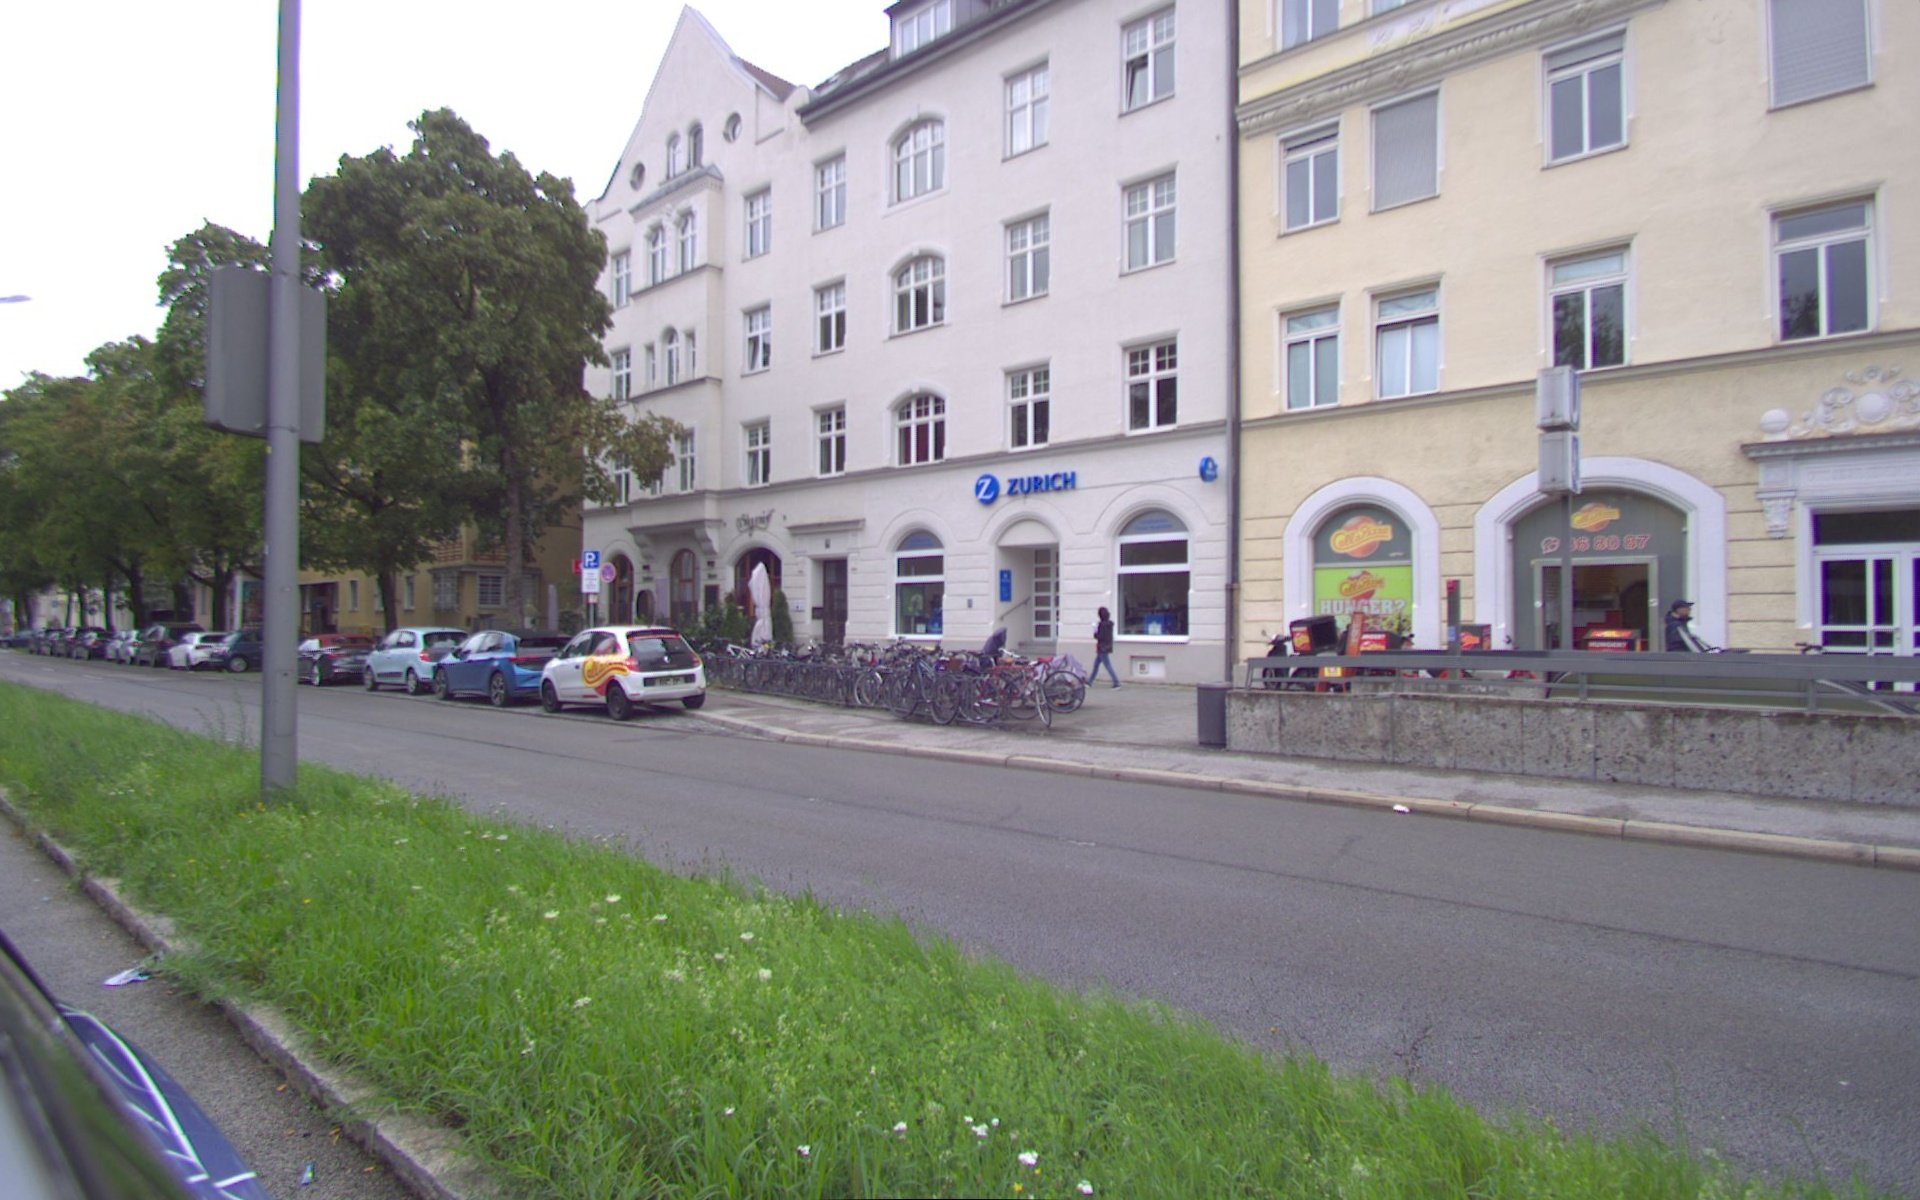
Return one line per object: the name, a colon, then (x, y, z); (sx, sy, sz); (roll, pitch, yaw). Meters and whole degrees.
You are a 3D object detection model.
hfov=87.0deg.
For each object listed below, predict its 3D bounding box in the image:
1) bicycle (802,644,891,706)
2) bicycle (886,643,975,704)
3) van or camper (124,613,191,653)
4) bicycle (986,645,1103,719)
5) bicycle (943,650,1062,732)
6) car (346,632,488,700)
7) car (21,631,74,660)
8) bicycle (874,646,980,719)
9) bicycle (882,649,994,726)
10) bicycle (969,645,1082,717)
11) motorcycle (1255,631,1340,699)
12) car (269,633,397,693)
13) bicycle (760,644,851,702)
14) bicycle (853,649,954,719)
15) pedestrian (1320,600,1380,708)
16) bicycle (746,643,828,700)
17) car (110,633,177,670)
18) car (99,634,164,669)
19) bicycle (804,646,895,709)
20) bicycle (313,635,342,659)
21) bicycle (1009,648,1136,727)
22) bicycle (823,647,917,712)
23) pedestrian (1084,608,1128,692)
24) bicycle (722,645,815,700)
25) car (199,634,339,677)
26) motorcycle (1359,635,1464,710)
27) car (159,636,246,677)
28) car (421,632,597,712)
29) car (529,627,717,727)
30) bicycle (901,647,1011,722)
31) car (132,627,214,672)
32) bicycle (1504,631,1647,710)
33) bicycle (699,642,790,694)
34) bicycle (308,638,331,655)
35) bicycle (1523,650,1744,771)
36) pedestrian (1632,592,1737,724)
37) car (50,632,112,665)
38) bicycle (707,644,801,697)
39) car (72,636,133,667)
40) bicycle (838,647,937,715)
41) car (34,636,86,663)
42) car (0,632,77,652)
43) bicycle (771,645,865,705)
bicycle: (-2.128, 1.392, 18.969); (1.667, 1.124, 0.328); (-1, -2, 18)
bicycle: (-0.560, 1.364, 18.959); (1.667, 1.124, 0.328); (-1, -2, 18)
van or camper: (-53.717, 2.197, 67.671); (6.847, 2.599, 2.321); (-2, -2, 41)
bicycle: (1.323, 1.270, 15.939); (1.799, 1.124, 0.394); (-1, -2, 18)
bicycle: (0.605, 1.286, 14.478); (1.667, 1.124, 0.328); (-1, -2, 18)
car: (-13.297, 1.544, 24.697); (3.958, 1.518, 1.792); (-2, -2, 41)
car: (-55.525, 2.737, 61.551); (4.436, 1.700, 1.854); (-2, -2, 41)
bicycle: (-0.536, 1.307, 16.186); (1.667, 1.124, 0.365); (-1, -2, 18)
bicycle: (-0.335, 1.306, 15.296); (1.667, 1.124, 0.366); (-1, -2, 18)
bicycle: (1.066, 1.307, 16.494); (1.799, 1.124, 0.394); (-1, -2, 18)
motorcycle: (6.127, 1.159, 18.497); (0.600, 1.139, 1.991); (0, -1, -9)
car: (-17.653, 1.703, 28.416); (4.643, 1.518, 1.792); (-2, -2, 41)
bicycle: (-3.078, 1.448, 20.128); (1.859, 1.124, 0.328); (-1, -2, 18)
bicycle: (-0.948, 1.380, 16.780); (1.667, 1.124, 0.328); (-1, -2, 18)
pedestrian: (6.336, 0.868, 16.441); (0.769, 1.710, 0.537); (-2, -2, 39)
bicycle: (-3.533, 1.453, 20.704); (1.664, 1.124, 0.329); (-1, -2, 14)
car: (-35.944, 2.231, 44.549); (3.007, 1.569, 1.710); (-2, -2, 39)
car: (-38.957, 2.381, 47.573); (4.055, 1.573, 1.708); (-2, -2, 41)
bicycle: (-2.032, 1.399, 18.499); (1.667, 1.124, 0.328); (-1, -2, 18)
bicycle: (-32.929, 2.434, 52.694); (1.929, 1.231, 0.762); (-2, -2, 41)
bicycle: (1.650, 1.268, 14.883); (1.799, 1.124, 0.394); (-1, -2, 18)
bicycle: (-1.597, 1.389, 17.866); (1.667, 1.124, 0.328); (-1, -2, 18)
pedestrian: (2.917, 0.992, 20.237); (0.416, 1.644, 0.784); (1, -2, -43)
bicycle: (-4.031, 1.521, 21.297); (1.860, 1.124, 0.548); (-1, -2, 10)
car: (-24.921, 1.965, 36.579); (1.731, 1.475, 3.850); (-2, -3, 39)
motorcycle: (7.570, 1.187, 17.073); (0.600, 1.130, 1.991); (0, -1, -9)
car: (-28.411, 2.065, 37.915); (4.401, 1.413, 1.708); (-2, -2, 41)
car: (-9.642, 1.444, 21.501); (4.289, 1.518, 1.792); (-2, -2, 41)
car: (-6.166, 1.307, 18.334); (3.790, 1.597, 1.631); (-2, -2, 43)
bicycle: (-0.066, 1.286, 15.622); (1.667, 1.124, 0.328); (-1, -2, 18)
car: (-32.535, 2.004, 41.785); (4.765, 1.741, 1.791); (-2, -2, 41)
bicycle: (8.126, 0.912, 13.398); (1.544, 0.988, 0.468); (-2, -2, 41)
bicycle: (-4.778, 1.511, 22.453); (1.944, 1.124, 0.457); (-1, -2, 10)
bicycle: (-34.461, 2.477, 54.442); (1.929, 0.906, 0.536); (-2, -2, 41)
bicycle: (6.756, 1.083, 10.252); (1.808, 1.124, 0.392); (-1, -2, 33)
pedestrian: (9.641, 0.761, 13.499); (0.936, 1.710, 0.591); (-1, -2, 14)
car: (-47.142, 2.578, 54.233); (4.768, 1.658, 1.859); (-2, -2, 41)
bicycle: (-4.460, 1.521, 21.909); (1.966, 1.124, 0.503); (-1, -2, 10)
car: (-42.806, 2.540, 50.484); (4.361, 1.416, 1.708); (-2, -2, 41)
bicycle: (-1.235, 1.366, 17.260); (1.667, 1.124, 0.380); (-1, -2, 18)
car: (-51.670, 2.801, 58.076); (4.490, 1.465, 1.674); (-2, -2, 41)
car: (-68.601, 3.147, 75.325); (3.930, 1.386, 1.868); (0, -2, -23)
bicycle: (-2.758, 1.444, 19.609); (1.859, 1.124, 0.328); (-1, -2, 18)
